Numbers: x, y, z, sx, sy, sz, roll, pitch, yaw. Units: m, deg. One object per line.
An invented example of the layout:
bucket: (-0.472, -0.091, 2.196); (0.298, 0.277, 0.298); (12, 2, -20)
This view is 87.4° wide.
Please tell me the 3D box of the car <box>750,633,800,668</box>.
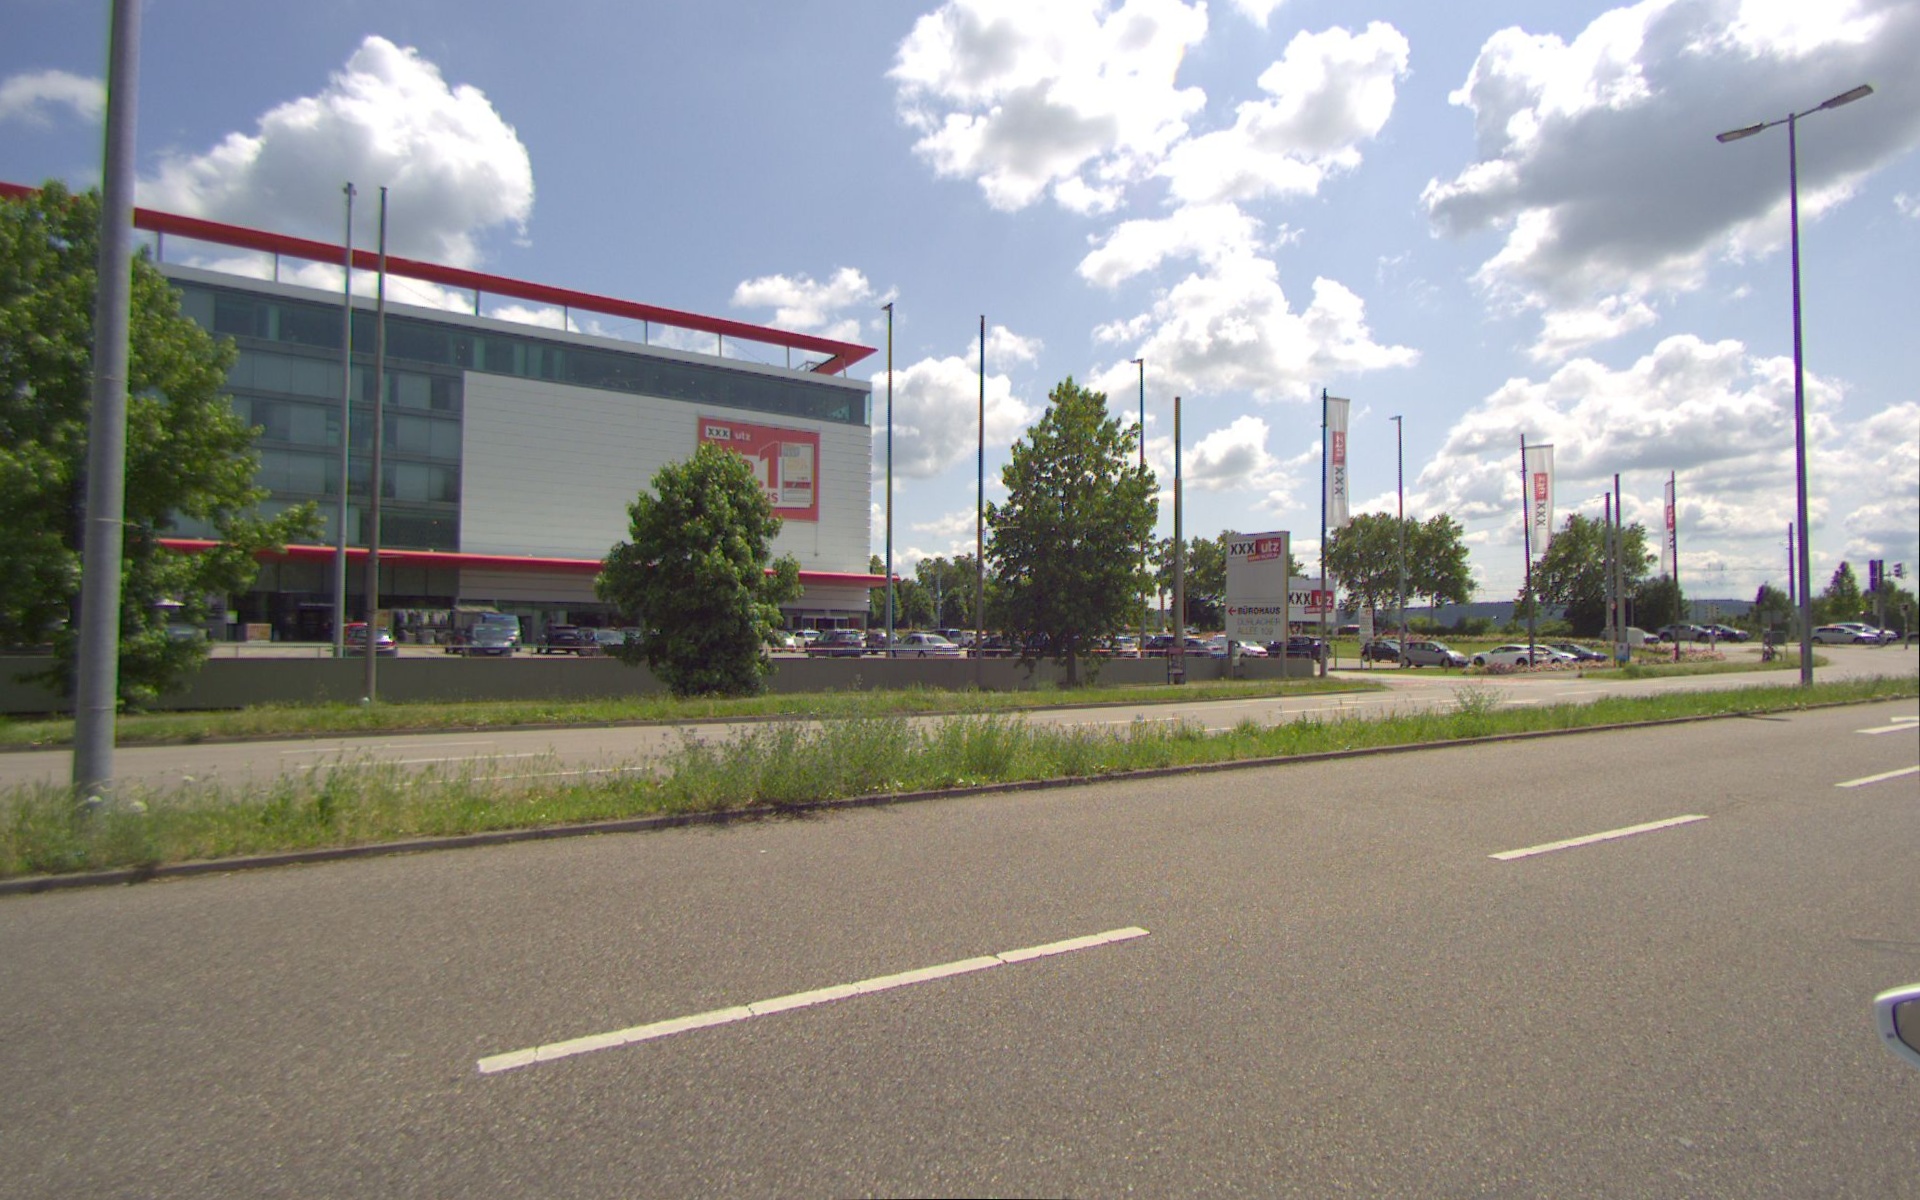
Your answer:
car: (-12.828, 3.486, 69.526); (1.850, 2.336, 4.531); (1, -3, -33)

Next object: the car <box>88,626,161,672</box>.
car: (-38.137, 2.236, 45.952); (1.979, 2.015, 4.324); (1, -3, -33)

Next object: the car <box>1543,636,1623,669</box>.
car: (39.873, 3.378, 64.365); (1.986, 2.040, 3.950); (2, -3, -43)

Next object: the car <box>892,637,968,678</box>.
car: (-1.606, 2.958, 51.824); (1.979, 2.015, 4.324); (1, -3, -33)

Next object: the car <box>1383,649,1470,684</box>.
car: (27.626, 3.917, 59.636); (1.979, 2.015, 4.324); (1, -3, -33)

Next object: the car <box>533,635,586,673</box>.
car: (-22.418, 2.992, 56.106); (1.979, 2.015, 4.324); (1, -3, -33)

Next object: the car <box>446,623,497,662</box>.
car: (-26.289, 2.301, 54.016); (1.979, 2.015, 4.324); (1, -3, -33)

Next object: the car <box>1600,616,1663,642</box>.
car: (55.641, 2.423, 83.321); (1.967, 2.040, 3.988); (0, -3, -16)

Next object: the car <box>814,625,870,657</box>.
car: (-7.748, 2.707, 65.851); (1.979, 2.015, 4.324); (2, -3, -33)

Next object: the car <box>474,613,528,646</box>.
car: (-27.502, 1.797, 60.113); (2.176, 1.802, 5.088); (1, -3, -33)

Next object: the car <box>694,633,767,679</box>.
car: (-10.723, 2.585, 46.792); (1.979, 2.015, 4.324); (1, -3, -33)

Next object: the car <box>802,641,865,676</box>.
car: (-7.007, 3.177, 55.193); (1.758, 1.854, 4.324); (1, -3, -33)

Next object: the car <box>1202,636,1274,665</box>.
car: (18.144, 3.299, 65.697); (1.979, 1.863, 4.324); (1, -3, -33)

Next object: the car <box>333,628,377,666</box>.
car: (-33.905, 2.622, 56.260); (1.979, 2.015, 4.325); (1, -3, -33)

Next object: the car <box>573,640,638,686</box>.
car: (-17.038, 2.988, 48.137); (1.979, 2.076, 4.324); (1, -3, -33)

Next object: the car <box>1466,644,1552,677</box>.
car: (34.381, 3.777, 62.997); (1.979, 2.015, 4.324); (1, -3, -33)

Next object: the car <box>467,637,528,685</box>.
car: (-21.260, 2.774, 46.114); (1.970, 2.069, 4.263); (1, -3, -33)

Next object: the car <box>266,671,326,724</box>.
car: (-28.109, 4.057, 42.614); (1.979, 2.015, 4.324); (1, -3, -33)

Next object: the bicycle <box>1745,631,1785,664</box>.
bicycle: (42.808, 2.535, 53.420); (2.026, 1.697, 1.012); (1, -3, -33)

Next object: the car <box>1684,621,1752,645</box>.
car: (66.186, 2.896, 87.810); (1.979, 2.015, 4.324); (1, -3, -33)

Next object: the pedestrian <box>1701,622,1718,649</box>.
pedestrian: (52.414, 2.464, 70.247); (0.851, 1.862, 0.797); (1, 0, 29)

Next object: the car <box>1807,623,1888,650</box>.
car: (68.783, 2.876, 77.906); (1.979, 2.015, 4.324); (1, -3, -33)

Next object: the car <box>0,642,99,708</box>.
car: (-30.098, 2.436, 33.158); (1.978, 2.040, 3.965); (1, -3, -33)

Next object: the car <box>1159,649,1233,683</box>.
car: (14.601, 4.027, 62.331); (1.979, 2.015, 4.324); (1, -3, -33)

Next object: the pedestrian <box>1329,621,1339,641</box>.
pedestrian: (39.359, 3.239, 105.762); (0.761, 2.040, 0.566); (0, -2, -12)

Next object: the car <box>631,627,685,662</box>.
car: (-17.973, 2.642, 59.634); (1.979, 2.015, 4.324); (1, -3, -33)

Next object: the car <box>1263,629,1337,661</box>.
car: (22.923, 3.015, 67.913); (1.979, 2.015, 4.556); (2, -2, -33)

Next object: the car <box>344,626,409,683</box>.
car: (-22.492, 2.057, 38.649); (1.978, 2.015, 4.324); (0, -2, -33)

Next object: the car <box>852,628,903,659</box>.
car: (-5.568, 2.914, 67.545); (1.758, 2.040, 3.965); (1, -2, -33)

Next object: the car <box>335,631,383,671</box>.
car: (-31.160, 2.626, 52.028); (1.979, 2.015, 4.324); (1, -3, -33)

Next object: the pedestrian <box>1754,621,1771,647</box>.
pedestrian: (58.260, 2.489, 72.898); (0.783, 1.862, 0.866); (1, 0, 29)

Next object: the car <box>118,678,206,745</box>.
car: (-27.760, 3.808, 35.065); (1.978, 2.040, 3.965); (1, -3, -33)

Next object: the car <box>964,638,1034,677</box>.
car: (2.071, 3.090, 54.764); (1.823, 2.015, 4.048); (2, -2, -33)

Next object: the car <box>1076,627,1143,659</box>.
car: (9.742, 2.814, 65.617); (1.979, 2.015, 4.324); (3, -4, -33)

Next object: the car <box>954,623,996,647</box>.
car: (1.295, 3.164, 90.104); (1.977, 2.015, 4.053); (1, -3, -31)

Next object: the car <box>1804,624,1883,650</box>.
car: (70.448, 2.940, 80.115); (1.979, 2.015, 4.324); (1, -3, -33)
